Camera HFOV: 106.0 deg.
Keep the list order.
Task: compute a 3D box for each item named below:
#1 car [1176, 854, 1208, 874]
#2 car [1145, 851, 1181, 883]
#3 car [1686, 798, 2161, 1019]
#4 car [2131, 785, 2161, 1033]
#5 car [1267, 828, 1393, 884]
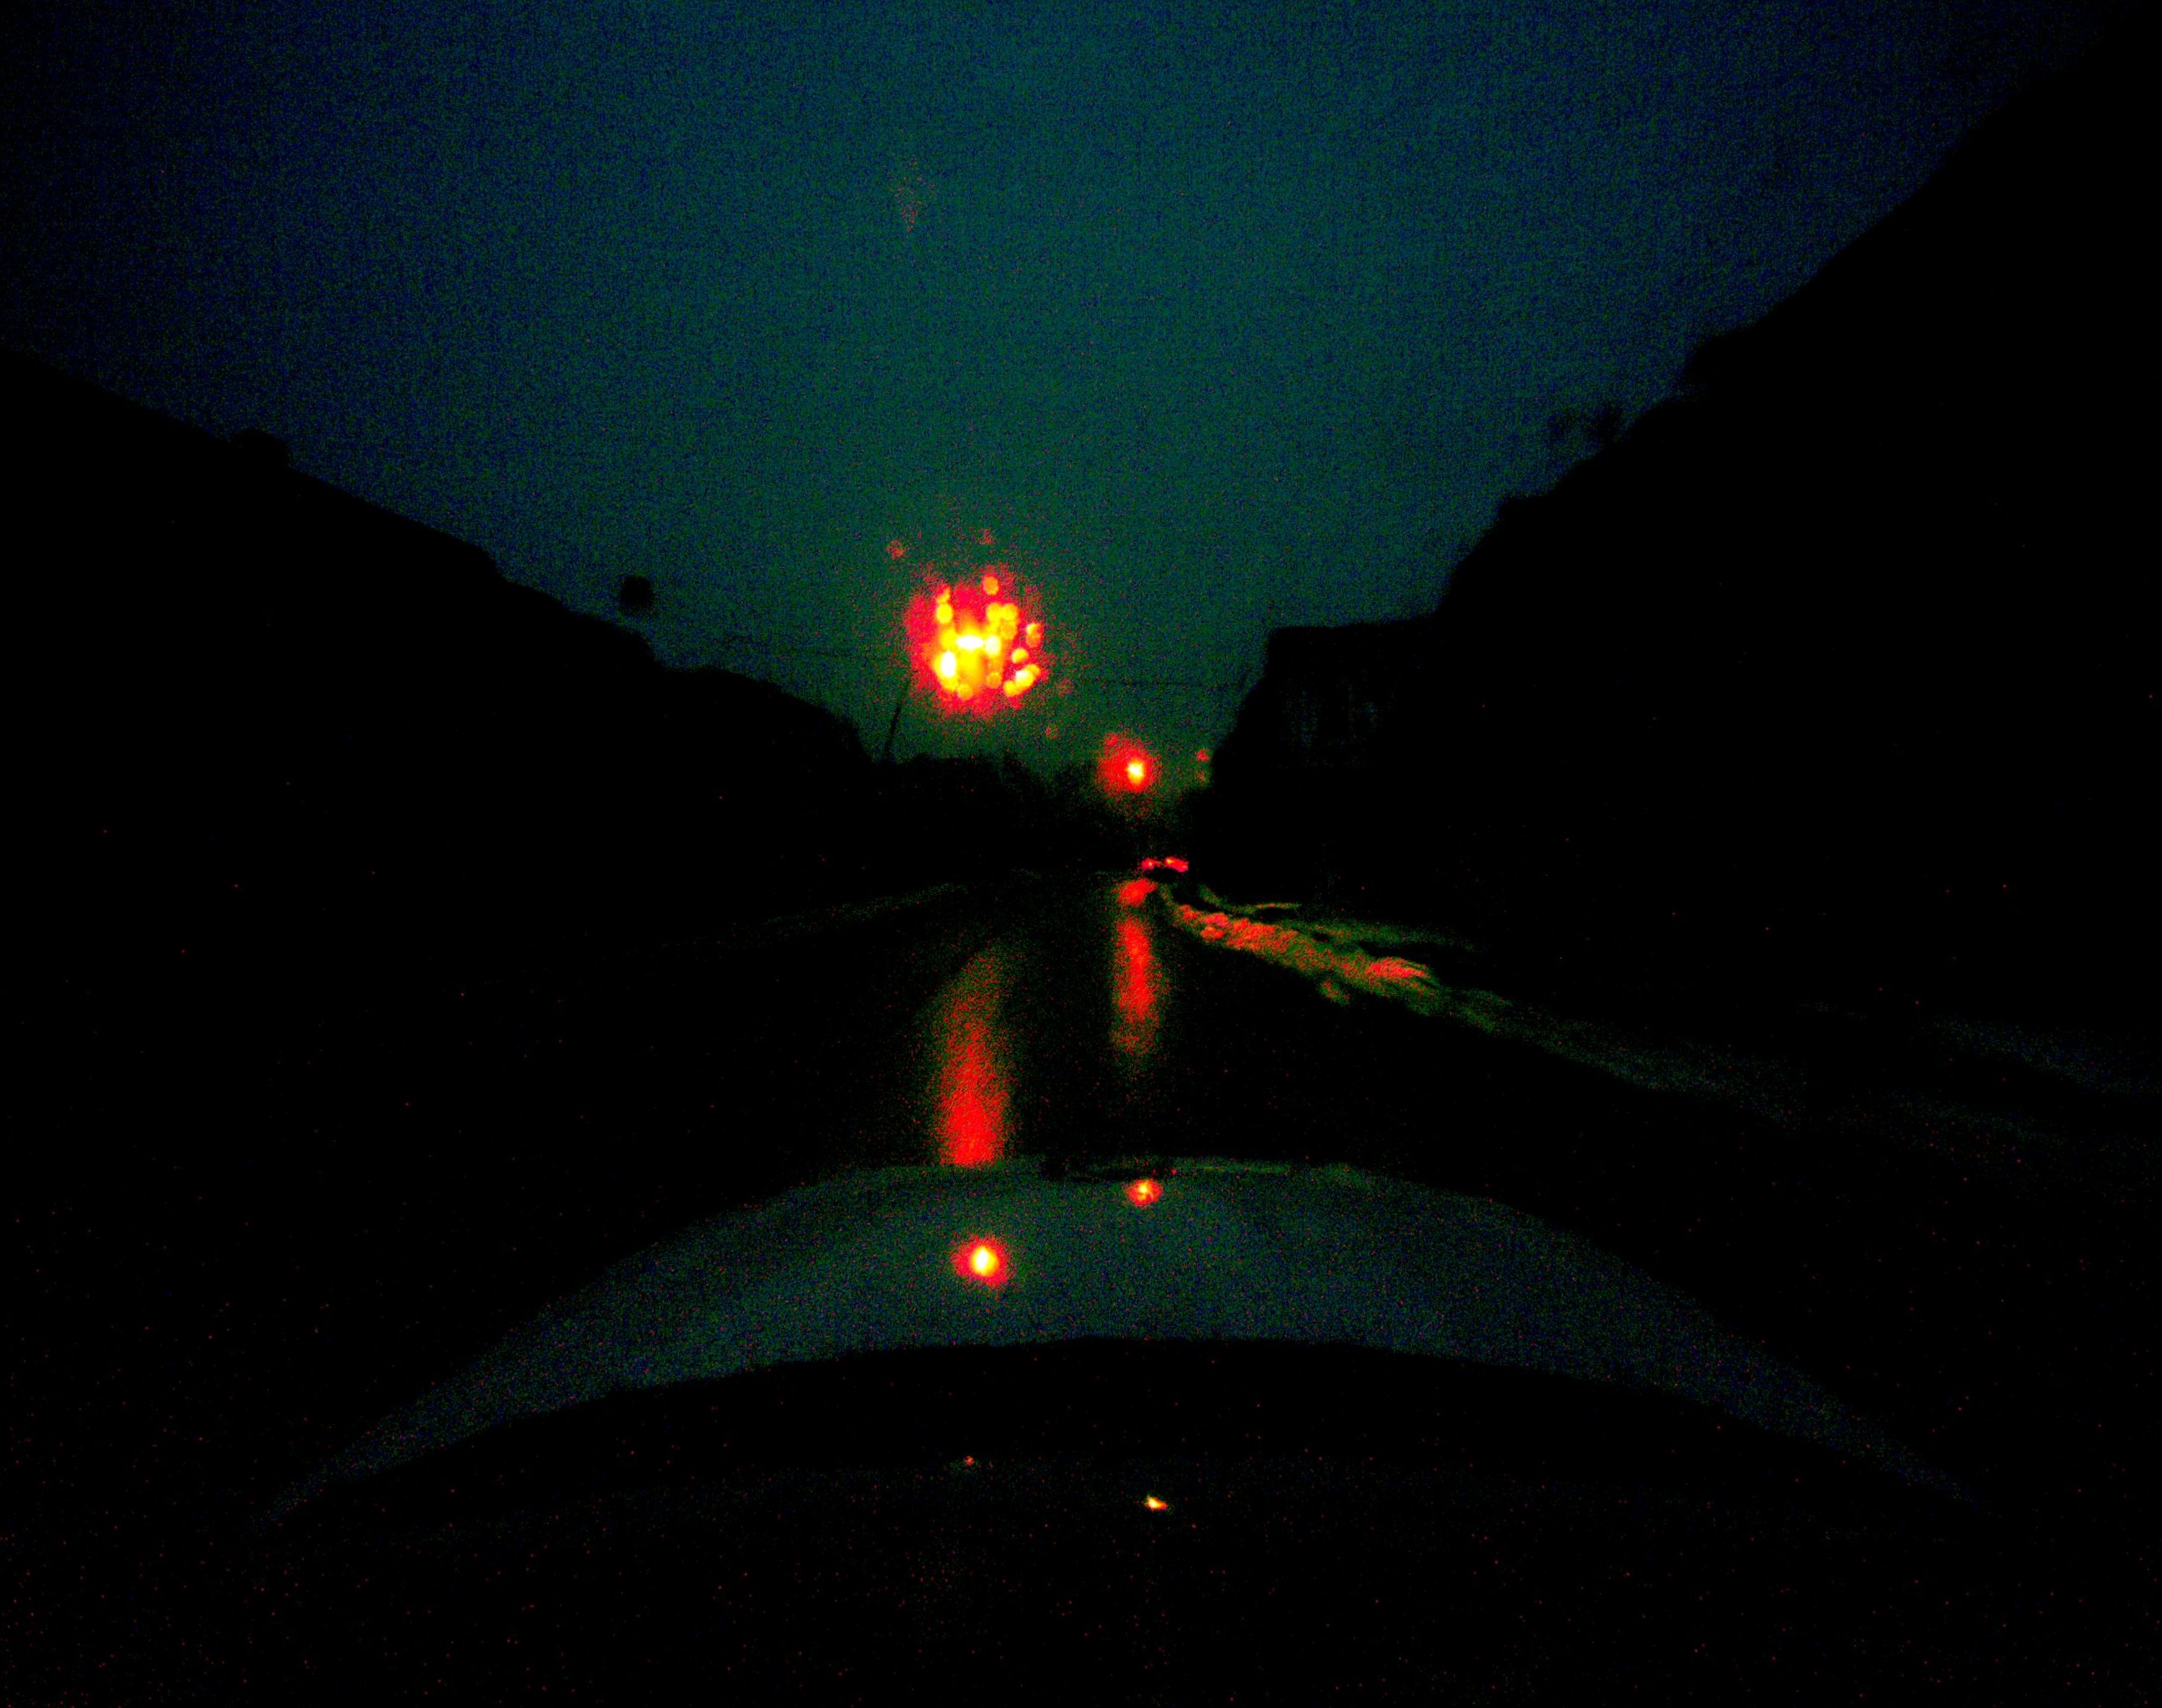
[{"bbox_3d":[10.575,0.954,77.112,1.976,1.651,4.021,-3,-3,22],"label":"car"},{"bbox_3d":[5.102,0.847,50.337,1.982,1.737,3.886,-2,-3,8],"label":"car"},{"bbox_3d":[7.892,0.382,6.765,4.131,1.559,1.952,-2,-1,11],"label":"car"},{"bbox_3d":[8.549,0.229,3.693,4.210,1.559,2.008,-3,-2,16],"label":"car"},{"bbox_3d":[8.652,0.103,28.586,3.962,1.690,1.849,-4,-2,10],"label":"car"}]
